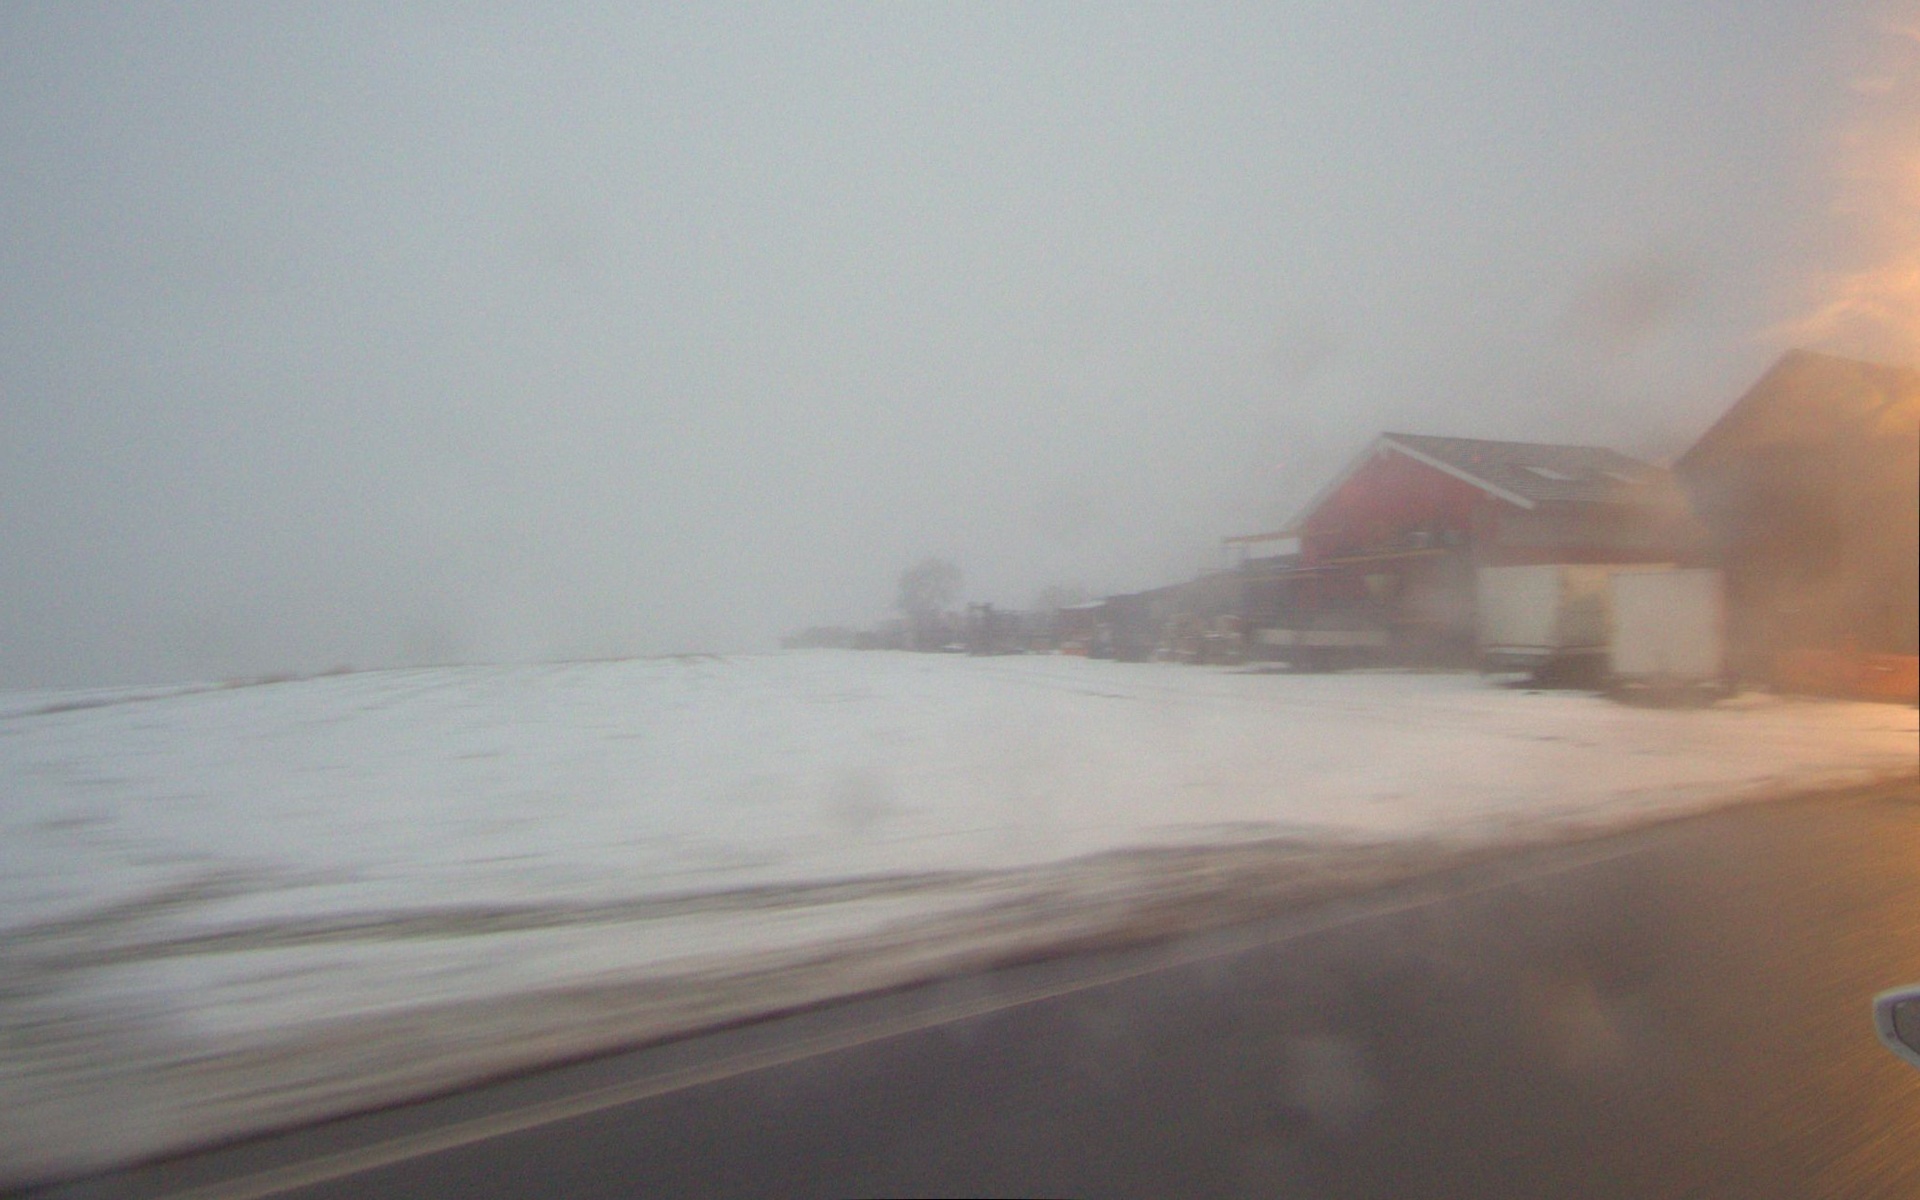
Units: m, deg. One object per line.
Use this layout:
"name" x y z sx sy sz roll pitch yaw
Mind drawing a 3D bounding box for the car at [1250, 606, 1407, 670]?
"car" 10.722 1.100 29.306 3.939 1.739 1.991 0 -2 -20

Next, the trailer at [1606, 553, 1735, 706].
"trailer" 13.651 0.578 19.225 1.670 2.639 3.428 -3 -3 40

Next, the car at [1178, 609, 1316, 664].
"car" 9.309 1.166 32.579 3.945 1.683 1.989 0 -2 -25

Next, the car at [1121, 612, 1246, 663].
"car" 7.920 1.317 35.625 3.944 1.683 1.989 0 -2 -24

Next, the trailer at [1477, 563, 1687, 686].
"trailer" 13.778 0.547 22.286 3.952 2.522 1.990 0 -2 -22

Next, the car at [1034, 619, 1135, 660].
"car" 5.464 1.708 44.065 3.943 1.683 1.990 0 -2 -23
